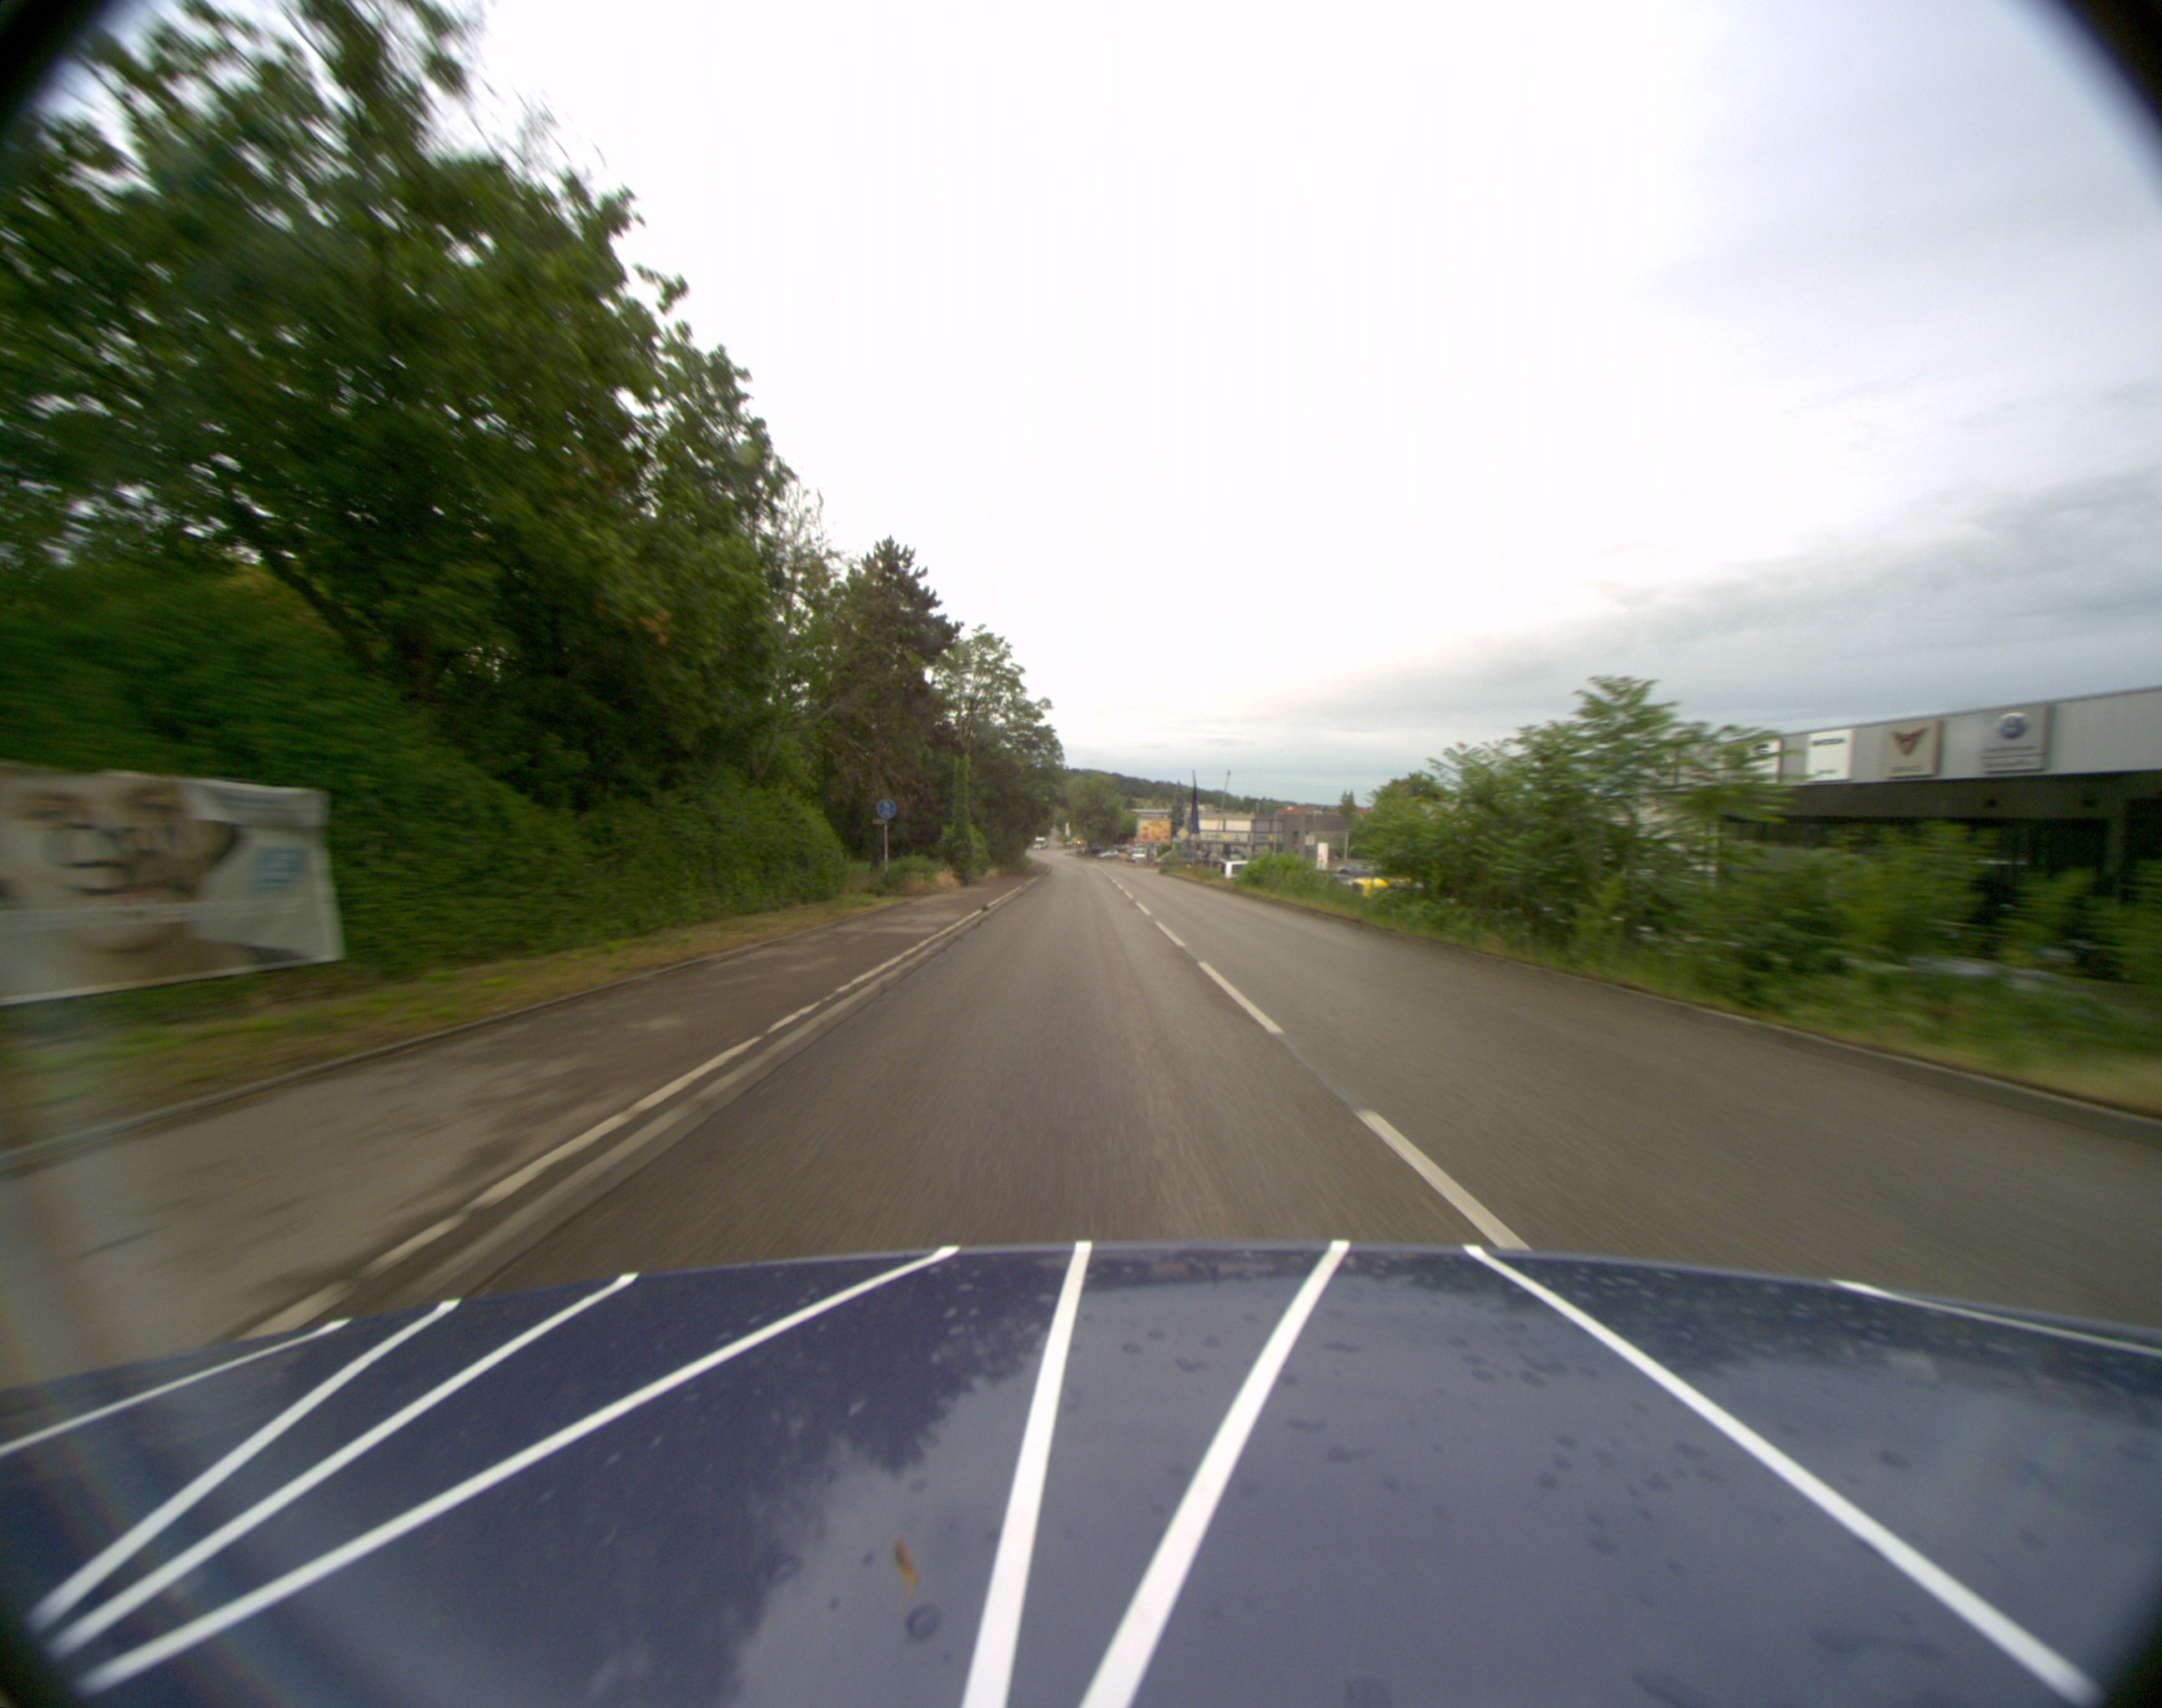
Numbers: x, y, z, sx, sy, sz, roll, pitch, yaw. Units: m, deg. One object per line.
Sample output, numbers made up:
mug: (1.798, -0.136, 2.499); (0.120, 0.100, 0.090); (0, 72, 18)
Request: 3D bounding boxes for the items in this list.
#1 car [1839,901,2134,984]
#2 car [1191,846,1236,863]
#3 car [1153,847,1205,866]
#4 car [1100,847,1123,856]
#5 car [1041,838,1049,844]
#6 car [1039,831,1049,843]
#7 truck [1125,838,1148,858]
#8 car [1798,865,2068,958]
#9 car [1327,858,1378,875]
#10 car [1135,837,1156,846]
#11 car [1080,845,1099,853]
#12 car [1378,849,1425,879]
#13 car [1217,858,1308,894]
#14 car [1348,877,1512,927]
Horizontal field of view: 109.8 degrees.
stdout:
car: (20.774, 1.968, 17.751); (4.010, 1.408, 1.958); (1, 1, 34)
car: (15.345, 0.054, 87.952); (2.004, 1.976, 4.863); (-1, 1, -45)
car: (10.322, 0.261, 79.991); (5.084, 1.860, 1.821); (1, 1, -9)
car: (5.593, -0.516, 137.742); (4.016, 1.561, 1.716); (-2, 3, -39)
car: (-9.101, -3.403, 193.731); (1.770, 1.460, 3.996); (1, 2, -5)
car: (-10.102, -4.659, 210.137); (2.575, 2.759, 6.121); (2, 5, -3)
truck: (7.687, -0.890, 105.941); (1.999, 2.618, 7.888); (1, 1, -3)
car: (22.940, 1.447, 20.800); (4.470, 1.949, 1.992); (4, 3, 35)
car: (24.239, 1.103, 67.911); (4.095, 1.419, 1.893); (1, 1, 25)
car: (16.626, -3.259, 195.997); (5.266, 2.075, 2.047); (1, 2, -40)
car: (1.718, -1.018, 154.131); (3.768, 1.559, 1.671); (1, 2, -4)
car: (21.538, 0.631, 51.195); (1.402, 1.790, 4.251); (2, 1, 2)
car: (9.772, 1.155, 41.203); (4.424, 1.787, 1.934); (1, 1, -1)
car: (10.304, 1.402, 22.684); (4.070, 1.283, 1.805); (1, 1, 6)
